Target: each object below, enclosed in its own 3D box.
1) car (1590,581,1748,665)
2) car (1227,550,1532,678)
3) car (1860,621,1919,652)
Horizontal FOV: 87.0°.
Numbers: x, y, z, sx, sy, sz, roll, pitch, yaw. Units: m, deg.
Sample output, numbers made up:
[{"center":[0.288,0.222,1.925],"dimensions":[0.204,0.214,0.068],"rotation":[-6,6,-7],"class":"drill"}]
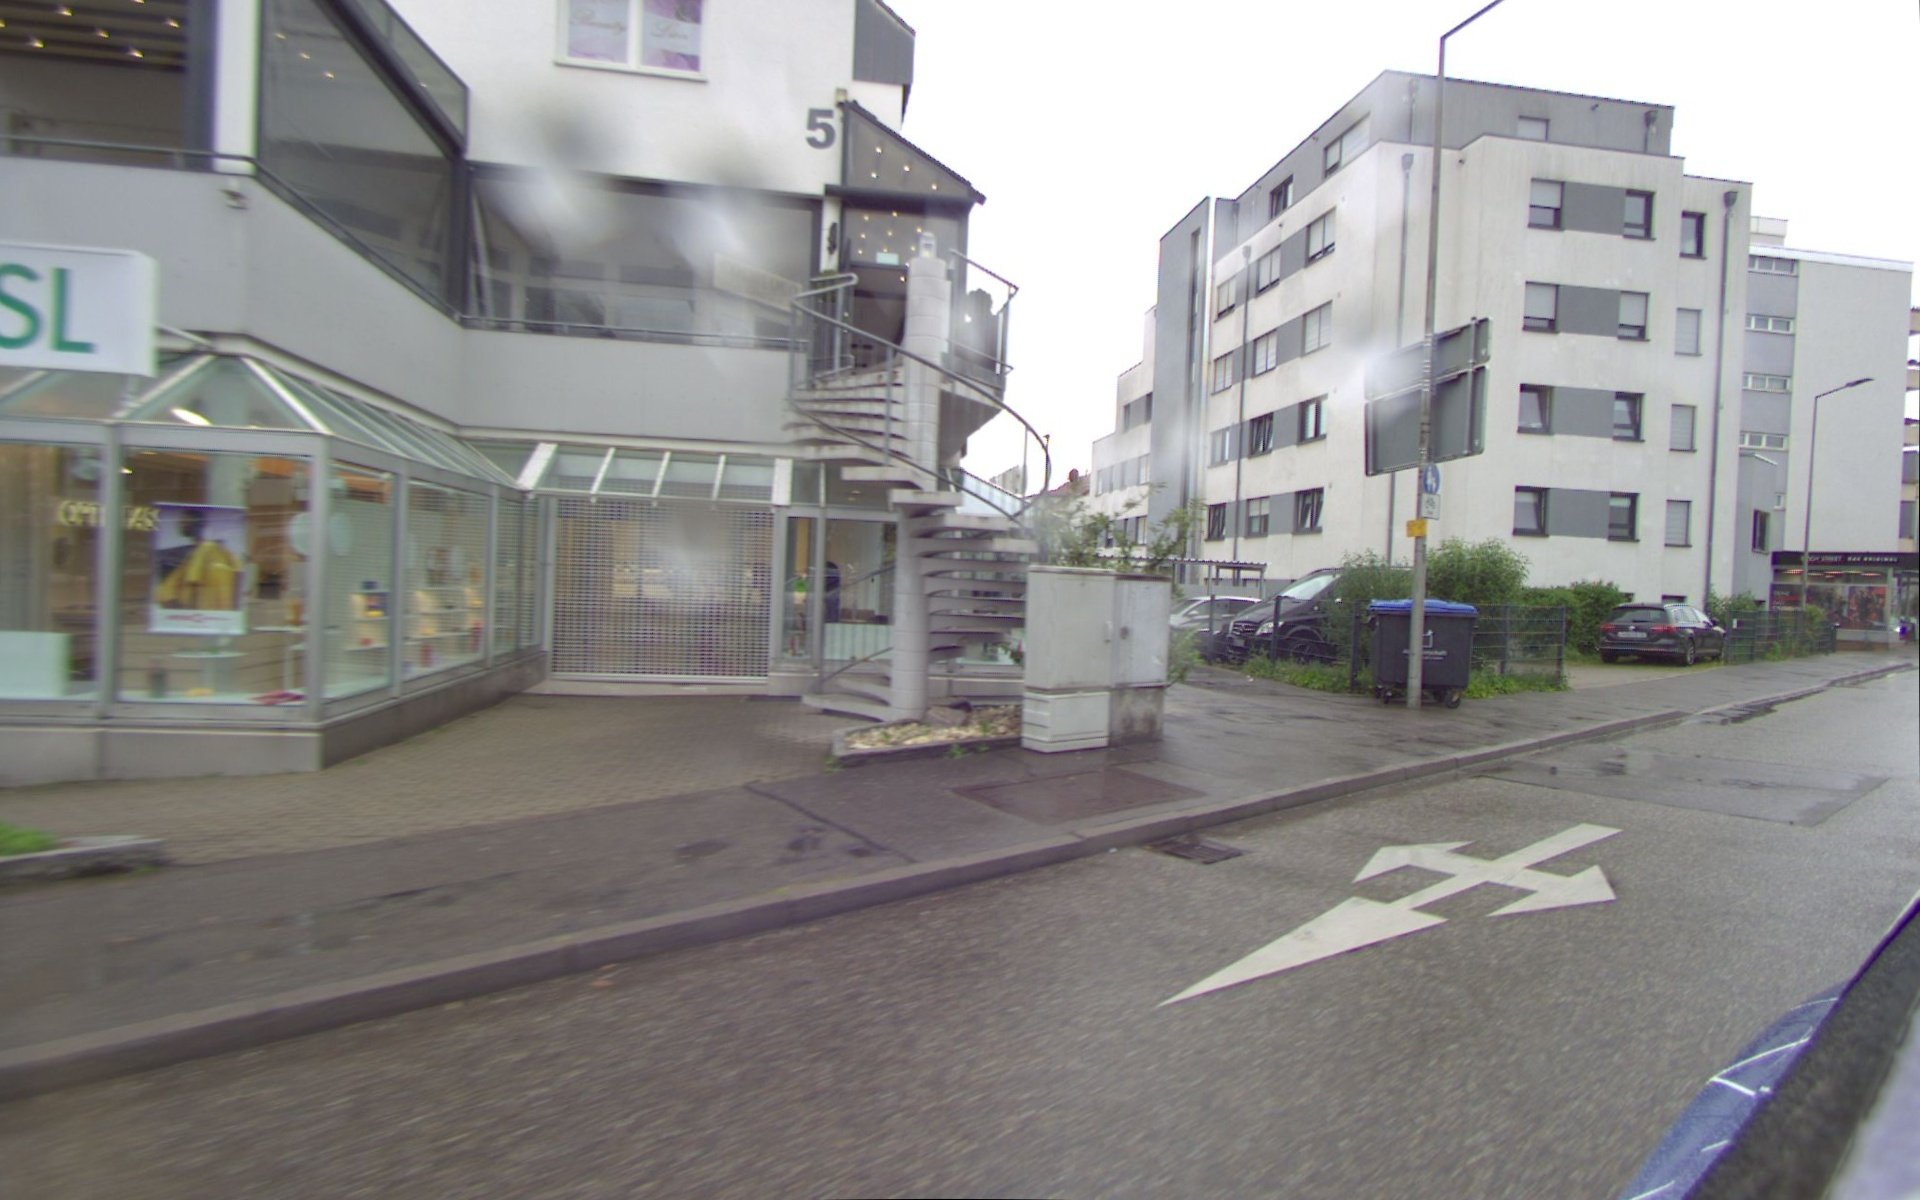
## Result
[{"center":[17.402,0.533,24.763],"dimensions":[4.606,1.807,1.998],"rotation":[1,1,-40],"class":"car"},{"center":[7.581,0.238,18.539],"dimensions":[4.682,2.038,2.003],"rotation":[2,1,-7],"class":"car"},{"center":[50.425,1.958,53.235],"dimensions":[1.833,1.513,4.279],"rotation":[4,0,-13],"class":"car"}]
